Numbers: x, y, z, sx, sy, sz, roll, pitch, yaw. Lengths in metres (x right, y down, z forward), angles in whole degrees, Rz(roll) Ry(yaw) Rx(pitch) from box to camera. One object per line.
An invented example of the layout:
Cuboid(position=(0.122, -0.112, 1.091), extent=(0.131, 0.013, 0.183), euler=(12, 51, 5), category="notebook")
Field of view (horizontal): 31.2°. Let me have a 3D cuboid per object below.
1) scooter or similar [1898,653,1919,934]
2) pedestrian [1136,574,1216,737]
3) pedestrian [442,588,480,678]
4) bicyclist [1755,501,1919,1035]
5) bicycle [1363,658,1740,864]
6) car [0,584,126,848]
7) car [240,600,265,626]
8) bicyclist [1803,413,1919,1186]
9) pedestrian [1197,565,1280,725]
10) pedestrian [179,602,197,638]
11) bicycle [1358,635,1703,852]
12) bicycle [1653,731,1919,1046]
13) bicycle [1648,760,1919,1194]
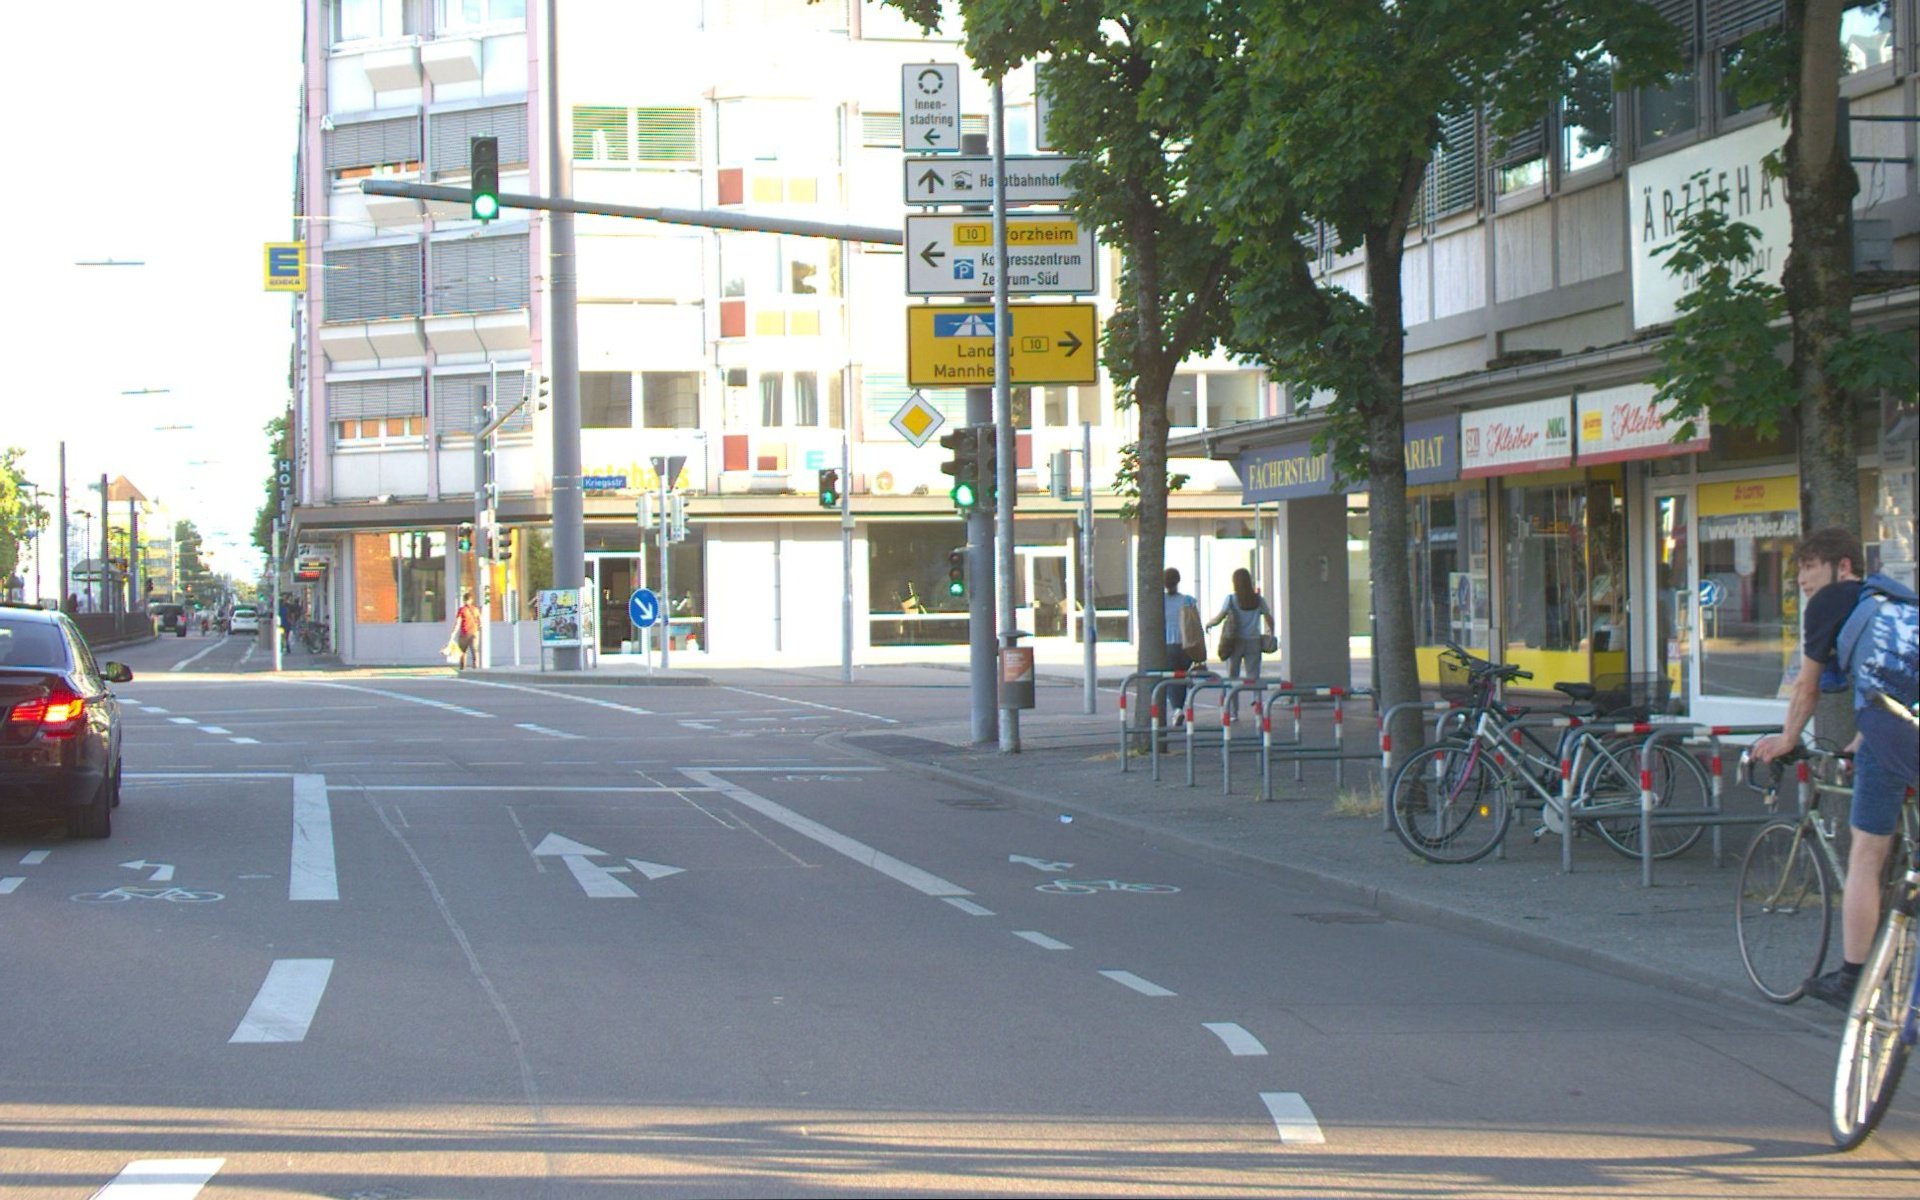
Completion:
Cuboid(position=(4.797, 0.854, 15.054), extent=(1.276, 1.231, 0.338), euler=(-1, 0, 31), category="scooter or similar")
Cuboid(position=(2.230, 0.566, 35.477), extent=(0.684, 1.661, 0.671), euler=(-1, 0, -8), category="pedestrian")
Cuboid(position=(-10.388, 0.679, 71.529), extent=(0.684, 1.848, 0.671), euler=(-1, 0, -15), category="pedestrian")
Cuboid(position=(3.163, 0.572, 12.100), extent=(0.464, 1.824, 0.559), euler=(-1, 0, -19), category="bicyclist")
Cuboid(position=(3.298, 0.894, 19.290), extent=(1.996, 1.107, 0.668), euler=(-1, 0, 2), category="bicycle")
Cuboid(position=(-6.519, 0.678, 22.525), extent=(1.993, 1.579, 4.001), euler=(2, 0, -13), category="car")
Cuboid(position=(-43.118, 0.799, 209.470), extent=(1.472, 1.509, 3.096), euler=(-1, 0, -12), category="car")
Cuboid(position=(2.838, 0.487, 8.639), extent=(1.114, 1.911, 0.838), euler=(-1, 0, 42), category="bicyclist")
Cuboid(position=(2.919, 0.468, 36.100), extent=(0.723, 1.661, 0.671), euler=(-1, 0, -8), category="pedestrian")
Cuboid(position=(-42.977, 1.109, 191.409), extent=(0.914, 2.007, 0.887), euler=(-1, 0, -12), category="pedestrian")
Cuboid(position=(3.347, 0.836, 20.270), extent=(1.904, 1.231, 0.668), euler=(-1, 0, 0), category="bicycle")
Cuboid(position=(3.140, 0.991, 12.212), extent=(0.464, 0.967, 1.801), euler=(-1, 0, -19), category="bicycle")
Cuboid(position=(2.862, 0.957, 8.637), extent=(2.076, 1.016, 0.838), euler=(0, 0, 42), category="bicycle")
